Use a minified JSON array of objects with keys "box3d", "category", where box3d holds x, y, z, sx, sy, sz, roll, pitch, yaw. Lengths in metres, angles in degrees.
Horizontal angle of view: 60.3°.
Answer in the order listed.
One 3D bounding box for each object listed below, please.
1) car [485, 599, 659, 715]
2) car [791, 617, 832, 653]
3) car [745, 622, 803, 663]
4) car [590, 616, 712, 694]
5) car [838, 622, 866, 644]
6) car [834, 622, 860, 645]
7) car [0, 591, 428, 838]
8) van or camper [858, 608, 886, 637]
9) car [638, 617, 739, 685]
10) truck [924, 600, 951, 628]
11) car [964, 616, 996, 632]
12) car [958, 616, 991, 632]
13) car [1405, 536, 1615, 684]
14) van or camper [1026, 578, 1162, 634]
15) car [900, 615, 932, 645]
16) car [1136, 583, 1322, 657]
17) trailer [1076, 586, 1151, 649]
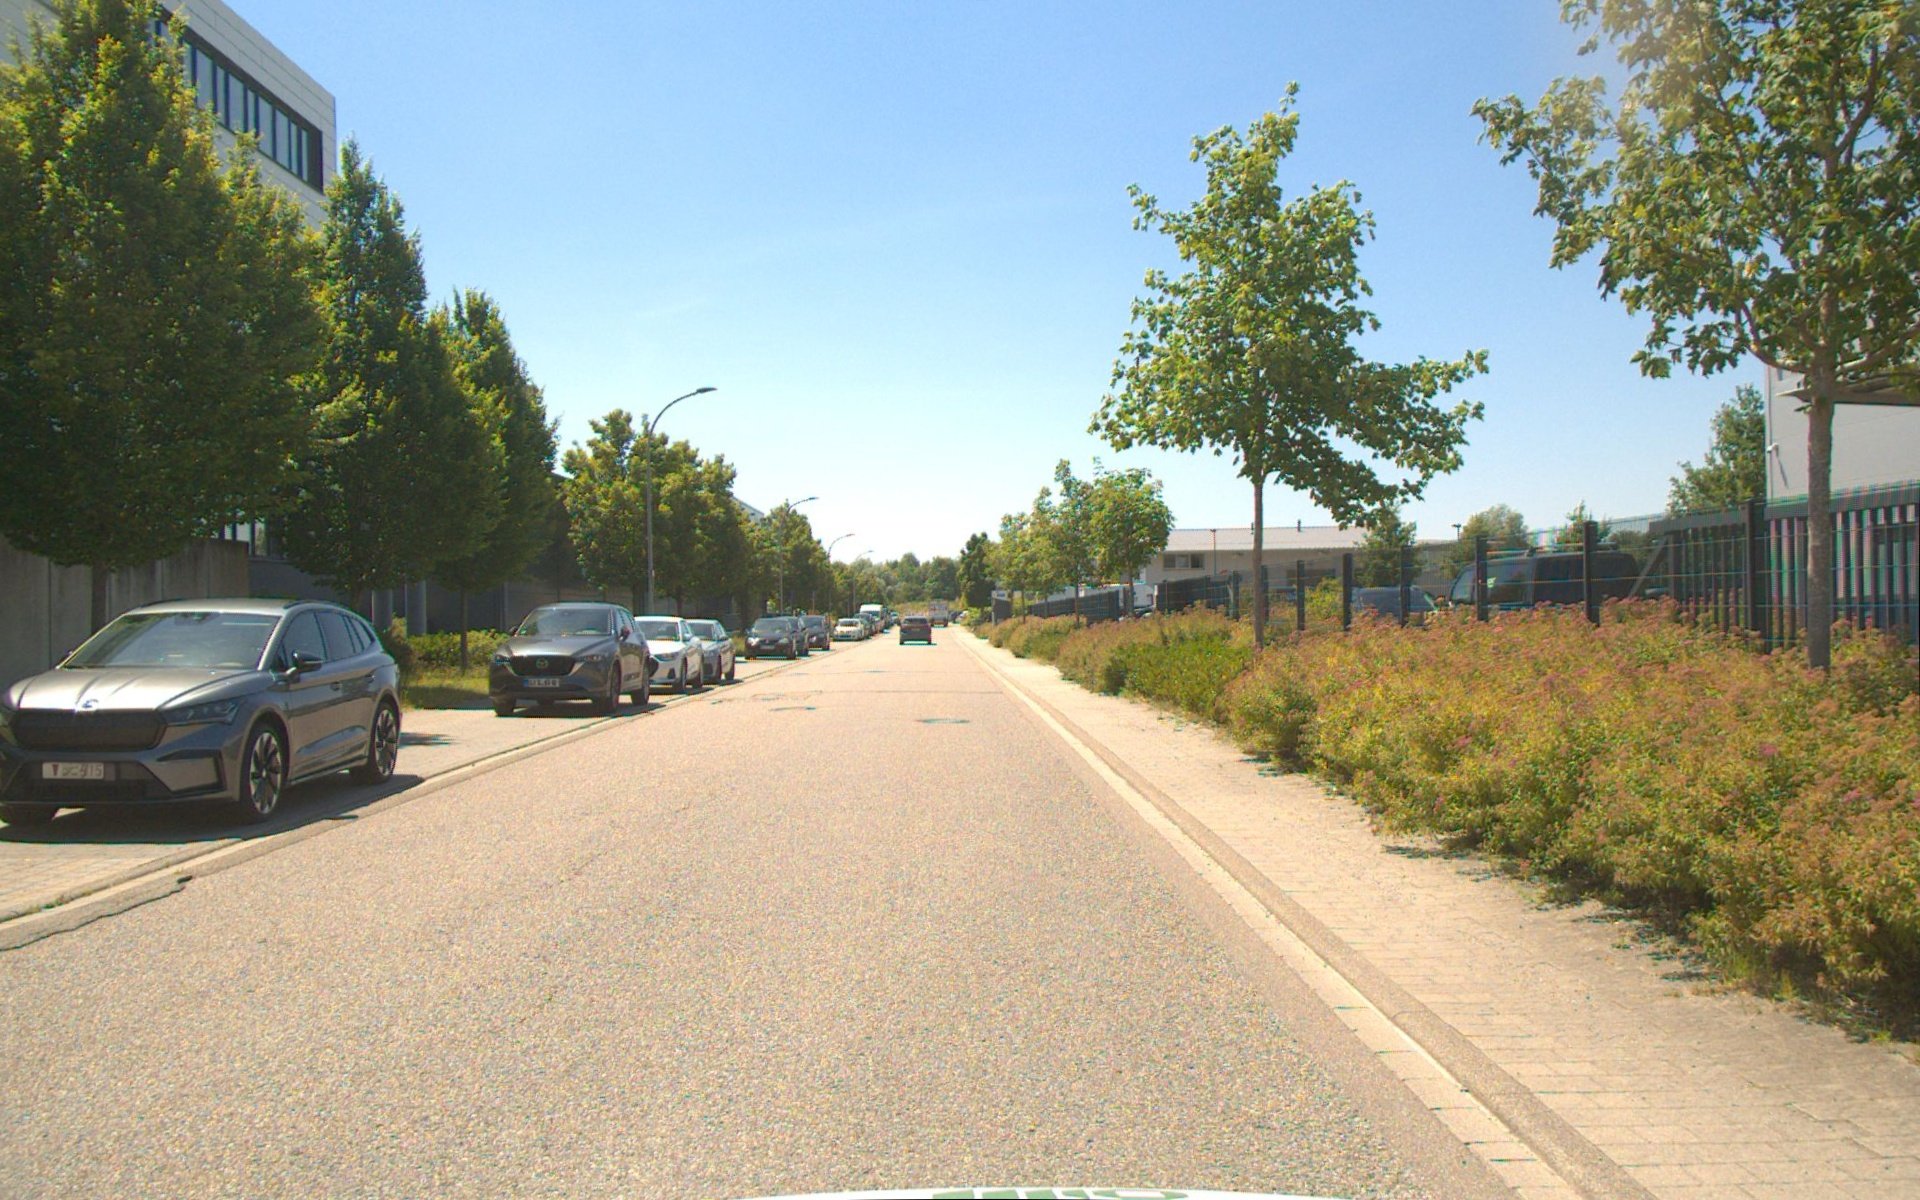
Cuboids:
[{"box3d":[-5.995,0.856,26.098,1.735,1.652,4.580,-1,-1,-1],"category":"car"},{"box3d":[-7.081,1.664,79.031,1.735,1.640,4.245,0,-1,-2],"category":"car"},{"box3d":[-6.790,1.544,60.741,1.735,1.456,4.199,-1,-1,-1],"category":"car"},{"box3d":[-6.174,1.076,33.451,1.735,1.456,4.199,-1,-1,-1],"category":"car"},{"box3d":[-7.575,2.304,116.307,1.762,1.502,4.553,0,-1,0],"category":"car"},{"box3d":[-7.547,2.213,111.047,1.686,1.502,3.854,0,-1,-3],"category":"car"},{"box3d":[-5.819,0.799,13.242,1.735,1.616,4.479,-1,-1,-1],"category":"car"},{"box3d":[-8.096,2.092,152.797,2.035,2.527,6.131,1,-1,1],"category":"van or camper"},{"box3d":[-6.206,1.157,38.116,1.735,1.456,3.939,-1,-1,-1],"category":"car"},{"box3d":[-2.471,1.567,183.582,2.873,3.026,6.417,1,-1,-1],"category":"truck"},{"box3d":[2.388,2.889,199.095,3.799,1.780,1.750,1,-1,-4],"category":"car"},{"box3d":[1.761,2.916,201.346,3.799,1.780,1.750,1,-1,-4],"category":"car"},{"box3d":[8.752,0.175,26.702,1.839,2.123,4.224,-2,-1,-1],"category":"car"},{"box3d":[6.767,0.340,84.218,6.621,2.630,2.634,-2,-1,-2],"category":"van or camper"},{"box3d":[-2.464,1.686,92.833,1.753,1.652,3.808,1,-1,-1],"category":"car"},{"box3d":[7.806,0.594,48.262,5.011,1.906,1.902,-2,-1,-2],"category":"car"},{"box3d":[6.291,0.728,67.857,2.767,2.445,1.418,-2,-1,-5],"category":"trailer"}]
